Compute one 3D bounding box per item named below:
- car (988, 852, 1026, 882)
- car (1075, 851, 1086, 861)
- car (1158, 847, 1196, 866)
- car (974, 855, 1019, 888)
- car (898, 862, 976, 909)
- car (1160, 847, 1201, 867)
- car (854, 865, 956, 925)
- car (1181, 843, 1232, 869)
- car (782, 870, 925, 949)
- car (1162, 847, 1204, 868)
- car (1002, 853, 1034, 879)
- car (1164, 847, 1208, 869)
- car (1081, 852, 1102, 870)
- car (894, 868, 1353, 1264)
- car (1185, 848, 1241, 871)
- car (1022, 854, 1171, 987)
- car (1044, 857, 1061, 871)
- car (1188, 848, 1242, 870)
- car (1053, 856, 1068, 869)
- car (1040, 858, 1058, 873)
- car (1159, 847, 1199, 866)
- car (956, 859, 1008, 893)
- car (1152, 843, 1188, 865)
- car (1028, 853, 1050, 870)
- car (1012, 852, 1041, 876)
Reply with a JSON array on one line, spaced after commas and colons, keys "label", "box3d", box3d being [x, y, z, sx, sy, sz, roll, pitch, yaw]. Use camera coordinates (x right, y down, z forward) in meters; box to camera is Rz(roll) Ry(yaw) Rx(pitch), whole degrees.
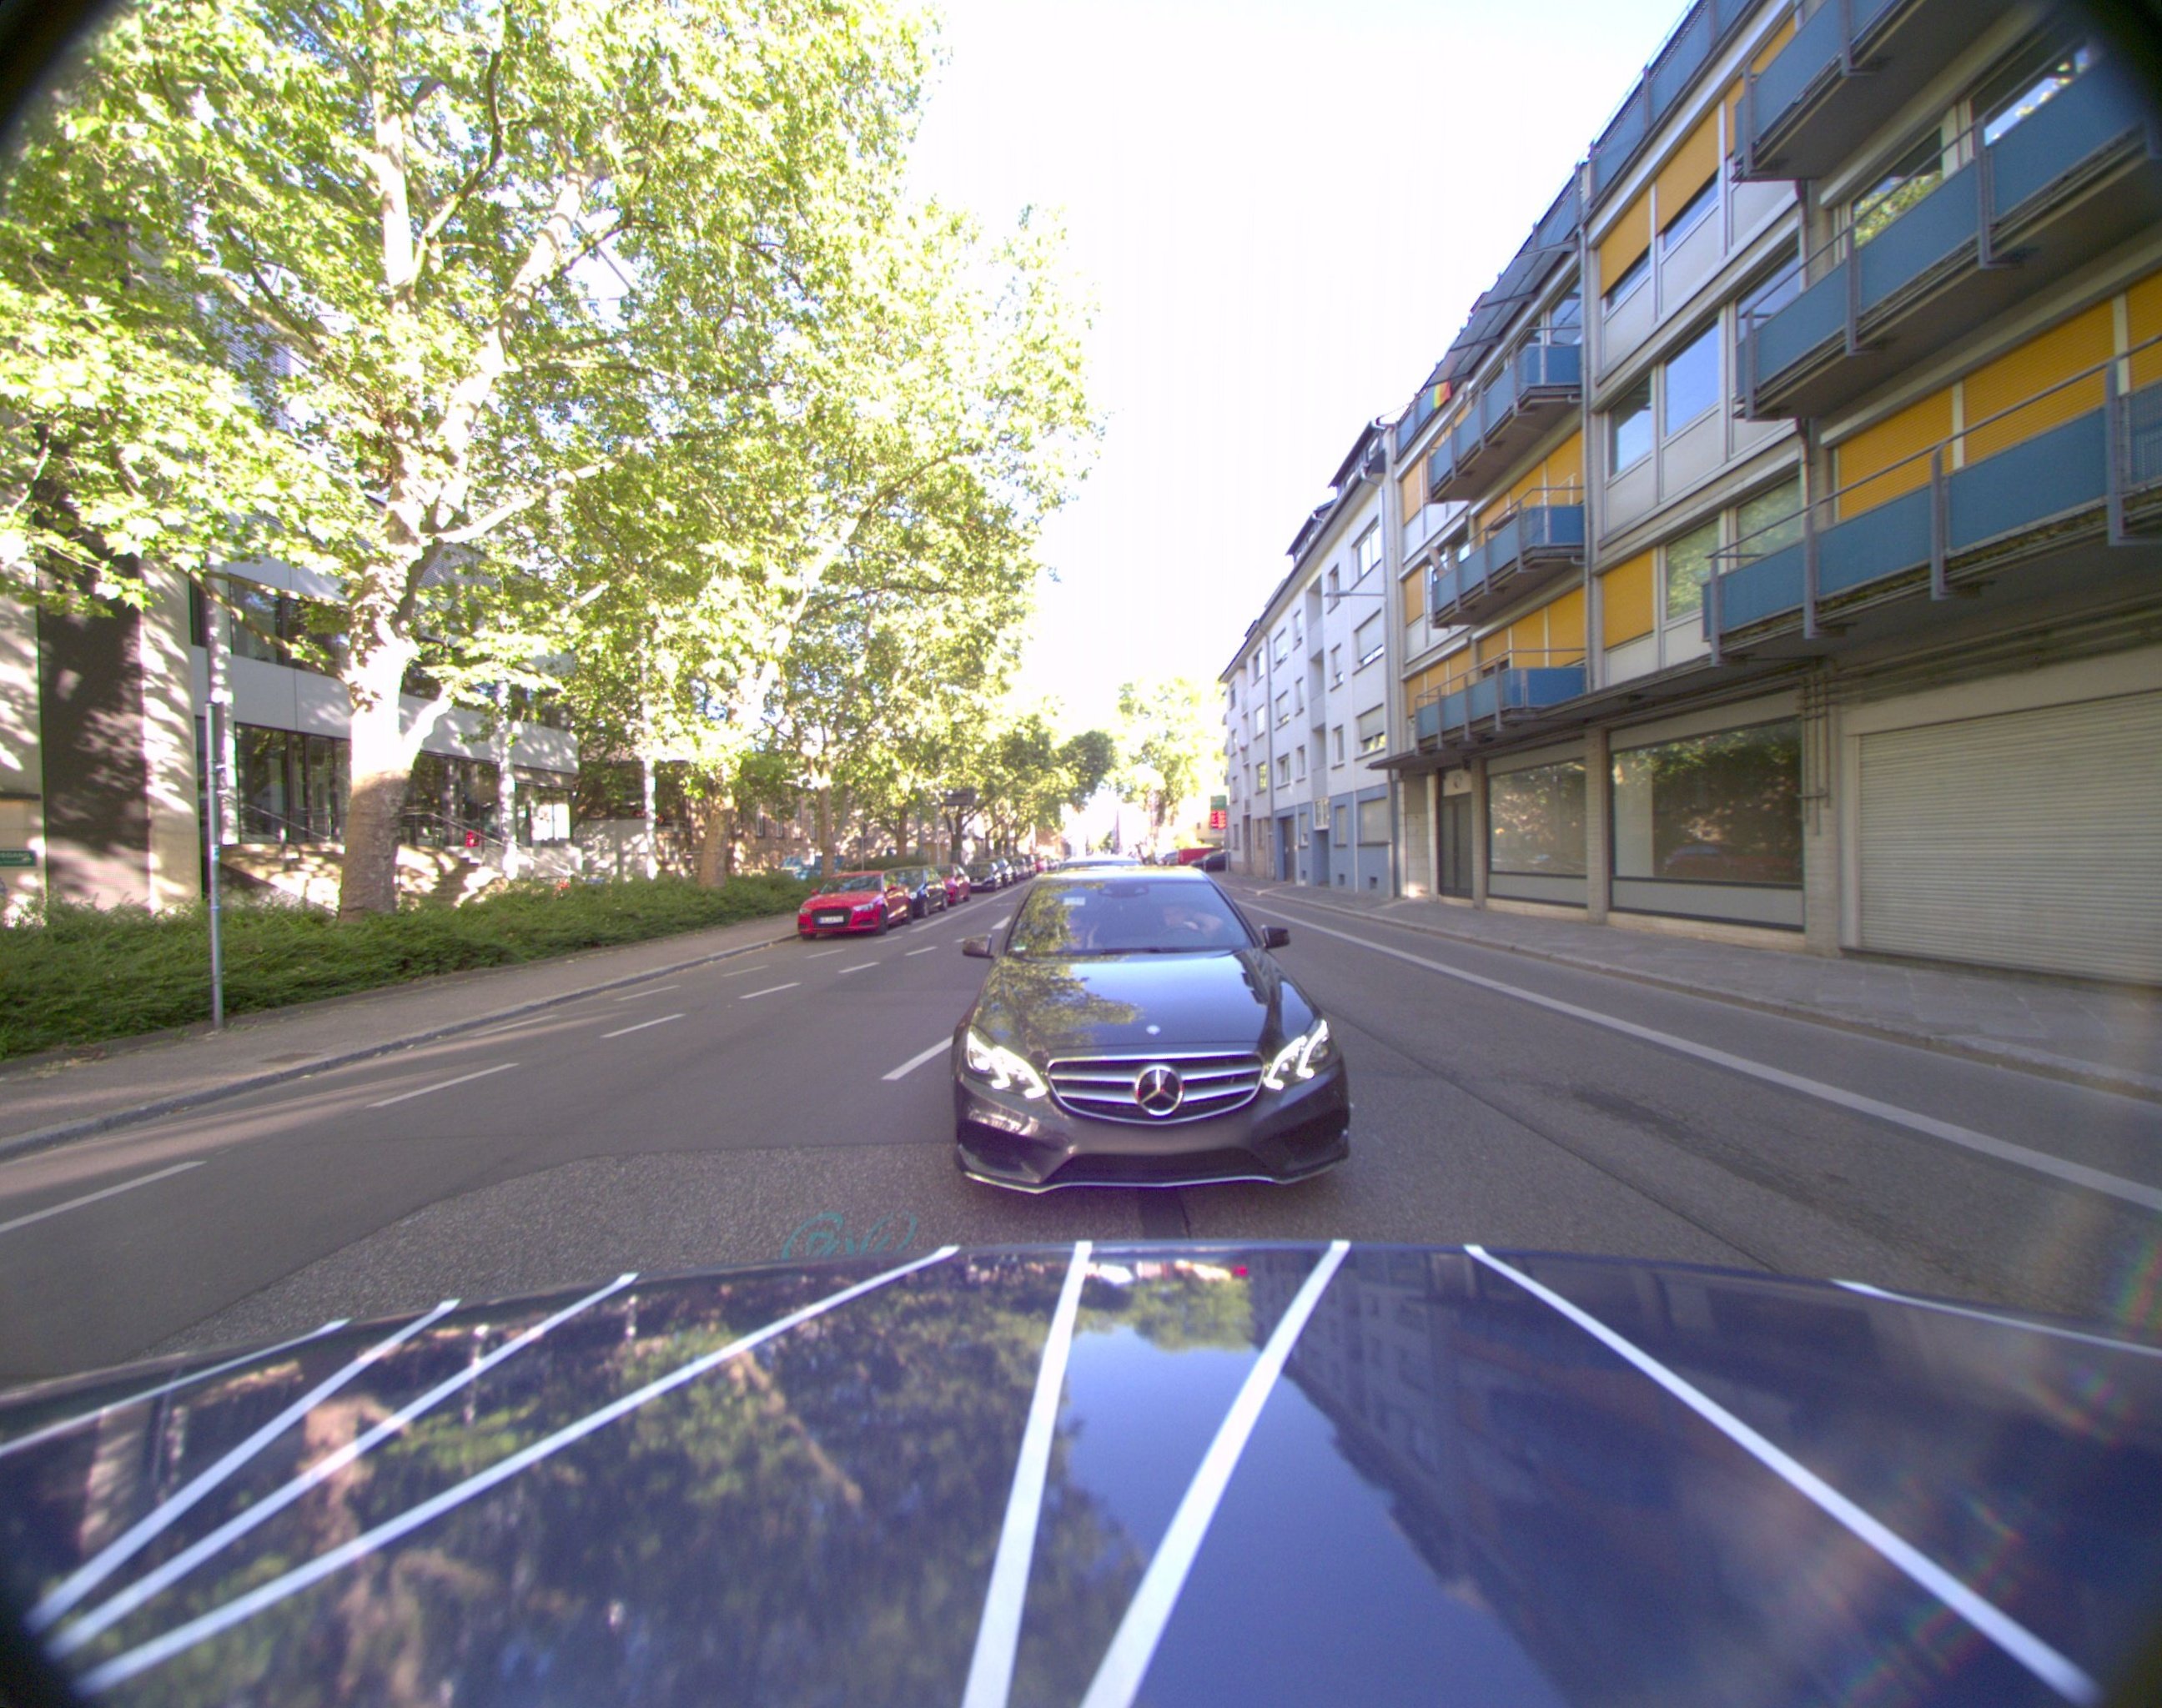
[{"label": "car", "box3d": [-4.627, 0.783, 48.131, 1.866, 1.749, 4.481, -2, 0, 1]}, {"label": "car", "box3d": [-0.044, 0.312, 128.659, 1.866, 1.632, 4.481, -2, 0, 1]}, {"label": "car", "box3d": [10.743, 0.238, 84.976, 3.996, 1.936, 2.000, -2, 1, 2]}, {"label": "car", "box3d": [-4.615, 0.906, 42.204, 1.866, 1.658, 4.481, -2, 0, 1]}, {"label": "car", "box3d": [-5.083, 1.064, 27.423, 1.866, 1.442, 4.481, -2, 0, 1]}, {"label": "car", "box3d": [10.468, 0.304, 79.994, 3.996, 1.936, 2.000, -2, 1, 2]}, {"label": "car", "box3d": [-5.039, 1.123, 22.379, 1.866, 1.442, 4.481, -2, 0, 1]}, {"label": "car", "box3d": [10.555, 0.151, 64.021, 3.996, 1.936, 2.000, -2, 1, 2]}, {"label": "car", "box3d": [-5.100, 1.177, 17.728, 1.866, 1.442, 4.481, -2, 0, 1]}, {"label": "car", "box3d": [10.339, 0.341, 77.143, 3.996, 1.936, 2.000, -2, 1, 2]}, {"label": "car", "box3d": [-4.497, 0.817, 54.798, 1.866, 1.749, 4.481, -2, 0, 1]}, {"label": "car", "box3d": [10.255, 0.374, 74.502, 3.996, 1.936, 2.000, -2, 1, 2]}, {"label": "car", "box3d": [1.023, 0.662, 74.124, 1.866, 1.632, 4.481, -2, 0, 1]}, {"label": "car", "box3d": [0.208, 0.932, 5.405, 1.866, 1.492, 4.481, -2, 0, 1]}, {"label": "car", "box3d": [10.181, 0.420, 58.867, 3.996, 1.543, 2.000, -2, 1, 2]}, {"label": "car", "box3d": [0.228, 0.857, 11.928, 1.866, 1.630, 4.303, -2, 0, 1]}, {"label": "car", "box3d": [-3.646, 1.234, 96.781, 1.866, 1.632, 4.481, -2, 0, 1]}, {"label": "car", "box3d": [10.722, 0.373, 61.189, 3.996, 1.543, 2.000, -2, 1, 2]}, {"label": "car", "box3d": [-2.814, 1.109, 105.188, 1.866, 1.632, 4.481, -2, 0, 1]}, {"label": "car", "box3d": [-3.757, 1.319, 89.982, 1.866, 1.632, 4.481, -2, 0, 1]}, {"label": "car", "box3d": [10.598, 0.271, 82.482, 3.996, 1.936, 2.000, -2, 1, 2]}, {"label": "car", "box3d": [-4.751, 1.023, 37.170, 1.866, 1.442, 4.481, -2, 0, 1]}, {"label": "car", "box3d": [10.497, 0.000, 89.504, 3.996, 2.505, 2.000, -2, 1, 2]}, {"label": "car", "box3d": [-4.191, 0.703, 76.276, 1.866, 1.632, 4.481, -2, 0, 1]}, {"label": "car", "box3d": [-4.239, 0.754, 59.753, 1.866, 1.749, 4.481, -2, 0, 1]}]
